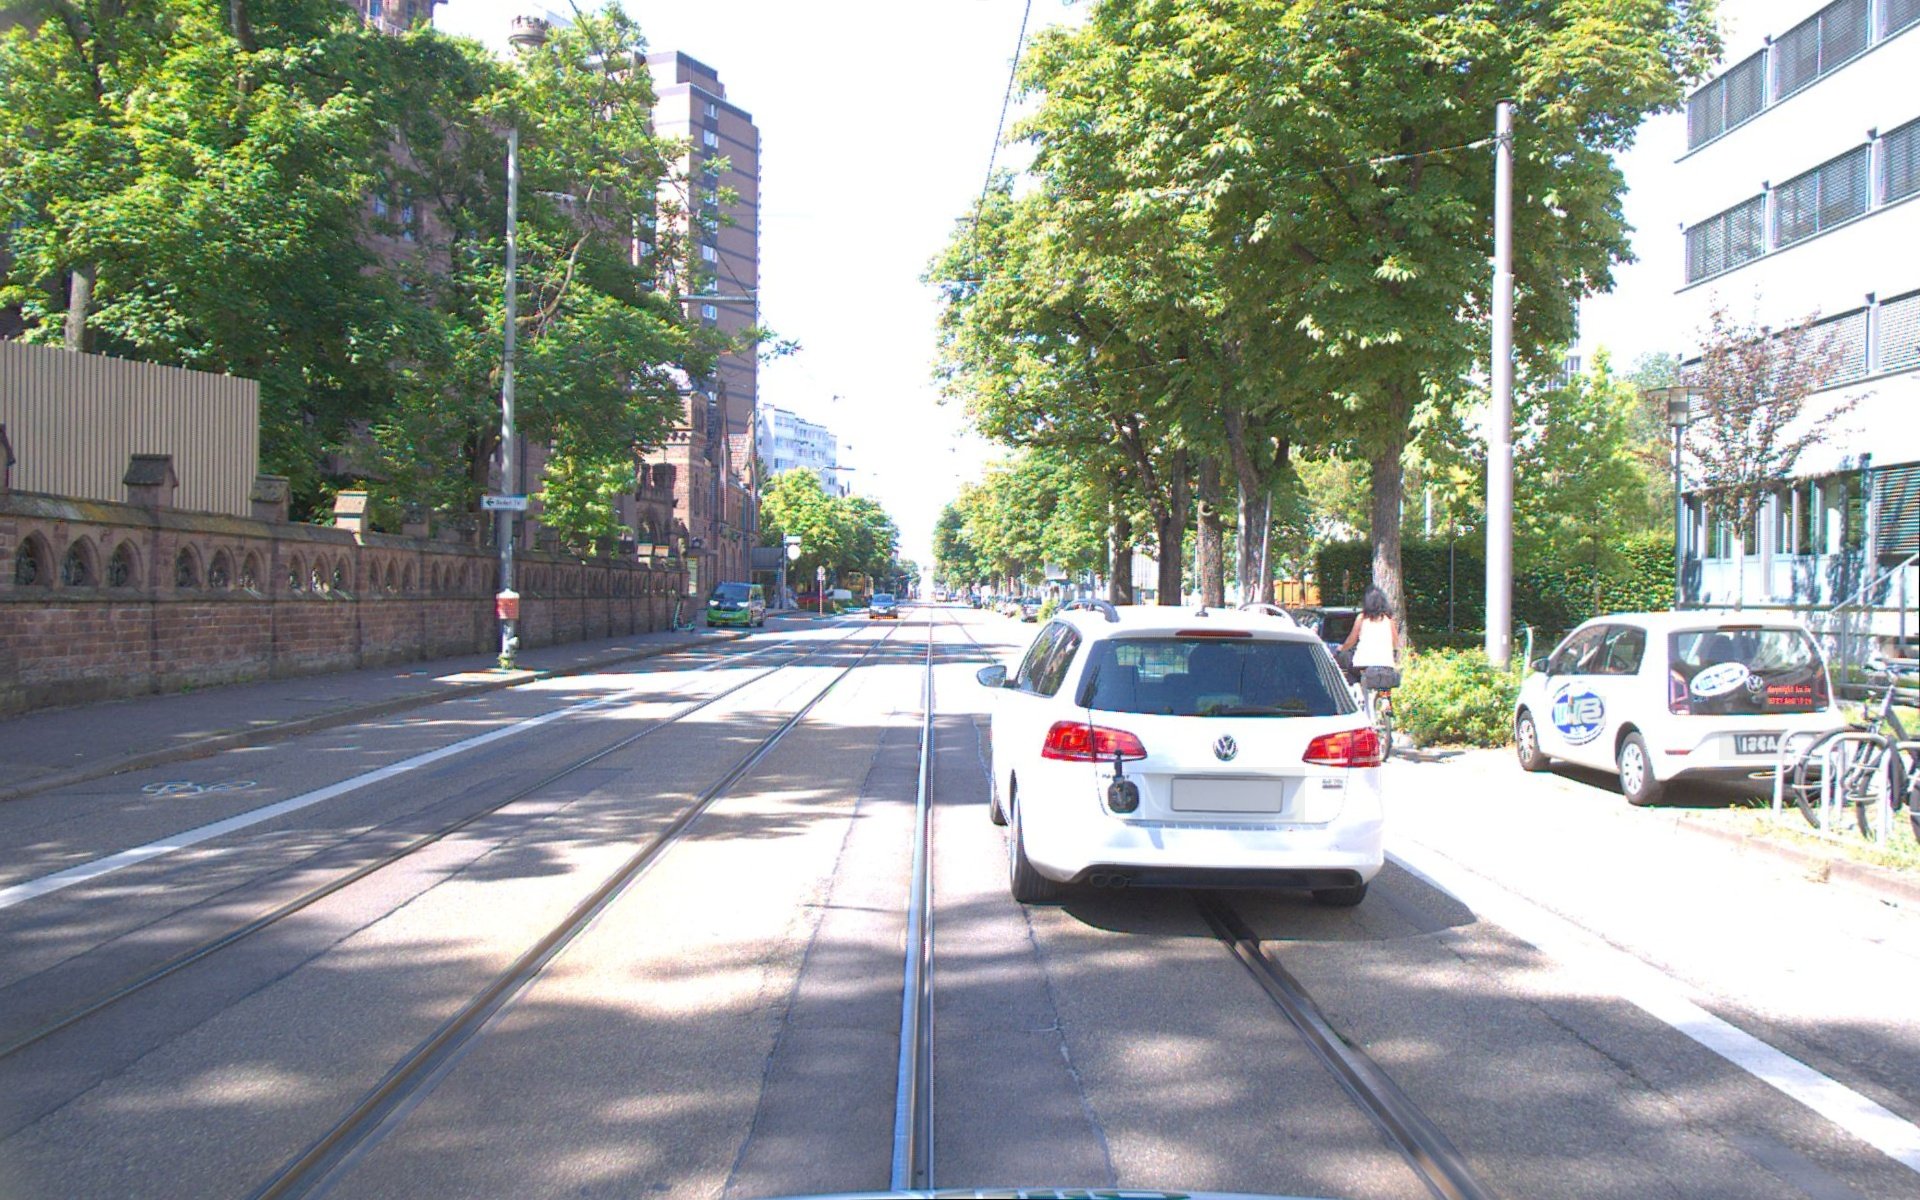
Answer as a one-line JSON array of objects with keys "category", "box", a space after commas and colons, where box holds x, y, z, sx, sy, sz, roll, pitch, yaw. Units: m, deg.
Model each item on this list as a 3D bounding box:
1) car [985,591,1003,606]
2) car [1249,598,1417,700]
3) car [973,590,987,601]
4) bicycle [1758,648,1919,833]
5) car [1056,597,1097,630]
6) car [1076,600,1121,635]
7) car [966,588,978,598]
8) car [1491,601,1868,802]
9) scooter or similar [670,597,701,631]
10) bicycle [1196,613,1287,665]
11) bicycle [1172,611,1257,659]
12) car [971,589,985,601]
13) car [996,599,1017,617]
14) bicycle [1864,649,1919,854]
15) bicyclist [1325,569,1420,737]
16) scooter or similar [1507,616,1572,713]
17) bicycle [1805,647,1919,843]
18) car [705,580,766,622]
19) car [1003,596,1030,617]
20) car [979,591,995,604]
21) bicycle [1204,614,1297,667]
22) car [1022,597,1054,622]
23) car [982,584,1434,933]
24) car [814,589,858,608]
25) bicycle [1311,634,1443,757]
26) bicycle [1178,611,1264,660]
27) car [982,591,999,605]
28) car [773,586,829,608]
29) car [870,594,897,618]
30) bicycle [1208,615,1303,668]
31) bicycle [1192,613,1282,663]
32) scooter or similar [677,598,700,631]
[{"category": "car", "box": [3.281, -0.148, 160.231, 1.678, 1.425, 3.843, 0, 0, 0]}, {"category": "car", "box": [5.892, 0.720, 26.615, 1.630, 1.469, 4.633, 0, 0, 0]}, {"category": "car", "box": [2.386, -0.549, 201.820, 1.678, 1.425, 3.843, 0, 0, 0]}, {"category": "bicycle", "box": [6.164, 0.905, 10.581, 1.848, 1.101, 0.550, 3, 0, -4]}, {"category": "car", "box": [5.271, 0.604, 75.270, 1.678, 1.425, 3.843, 0, 0, 1]}, {"category": "car", "box": [5.468, 0.675, 65.593, 1.677, 1.303, 3.845, 0, 0, 3]}, {"category": "car", "box": [1.685, -0.952, 235.533, 1.678, 1.425, 3.843, 0, 0, 0]}, {"category": "car", "box": [6.044, 0.769, 14.409, 1.558, 1.476, 3.945, 0, 0, 0]}, {"category": "scooter or similar", "box": [-9.558, 0.481, 57.559, 0.397, 1.175, 1.140, 0, 0, 33]}, {"category": "bicycle", "box": [5.683, 0.787, 33.396, 1.753, 1.028, 0.487, 0, 0, -6]}, {"category": "bicycle", "box": [5.504, 0.752, 35.767, 1.753, 1.028, 0.487, 0, 0, -6]}, {"category": "car", "box": [2.251, -0.611, 206.205, 1.678, 1.425, 3.843, 0, 0, 0]}, {"category": "car", "box": [3.920, 0.663, 140.485, 1.678, 1.425, 3.843, 0, 0, 0]}, {"category": "bicycle", "box": [6.193, 0.890, 9.327, 1.874, 1.101, 0.550, 3, 0, -4]}, {"category": "bicyclist", "box": [4.163, 0.524, 16.724, 0.770, 1.657, 0.738, 0, 0, -1]}, {"category": "scooter or similar", "box": [7.130, 0.784, 20.388, 0.371, 1.147, 1.090, 0, 0, -3]}, {"category": "bicycle", "box": [6.161, 0.893, 9.939, 1.874, 1.101, 0.550, 3, 0, -4]}, {"category": "car", "box": [-9.966, 0.038, 73.833, 1.952, 1.788, 4.713, 0, 0, 1]}, {"category": "car", "box": [3.912, 0.426, 114.943, 1.678, 1.425, 3.842, 0, 0, -1]}, {"category": "car", "box": [2.907, -0.291, 180.704, 1.678, 1.425, 3.843, 0, 0, 0]}, {"category": "bicycle", "box": [5.755, 0.795, 32.824, 1.753, 1.028, 0.487, 0, 0, -6]}, {"category": "car", "box": [4.577, 0.524, 96.883, 1.678, 1.425, 3.843, 0, 0, 0]}, {"category": "car", "box": [1.095, 0.688, 9.262, 1.718, 1.467, 4.411, 1, 0, -2]}, {"category": "car", "box": [-12.459, -0.142, 165.960, 3.957, 1.847, 1.974, 0, 0, -37]}, {"category": "bicycle", "box": [4.171, 0.932, 16.696, 0.794, 1.097, 2.012, 1, 0, 0]}, {"category": "bicycle", "box": [5.550, 0.760, 35.248, 1.753, 1.028, 0.487, 0, 0, -6]}, {"category": "car", "box": [3.163, -0.244, 171.463, 1.678, 1.425, 3.843, 0, 0, 0]}, {"category": "car", "box": [-12.771, -0.276, 132.806, 4.060, 1.557, 1.919, 2, 1, -22]}, {"category": "car", "box": [-4.565, 0.371, 99.444, 1.462, 1.409, 3.642, 0, 0, 0]}, {"category": "bicycle", "box": [5.758, 0.803, 32.237, 1.753, 1.028, 0.487, 0, 0, -6]}, {"category": "bicycle", "box": [5.685, 0.778, 33.984, 1.753, 1.028, 0.487, 0, 0, -6]}, {"category": "scooter or similar", "box": [-9.972, 0.531, 60.820, 0.413, 1.221, 1.144, 0, 0, 14]}]
